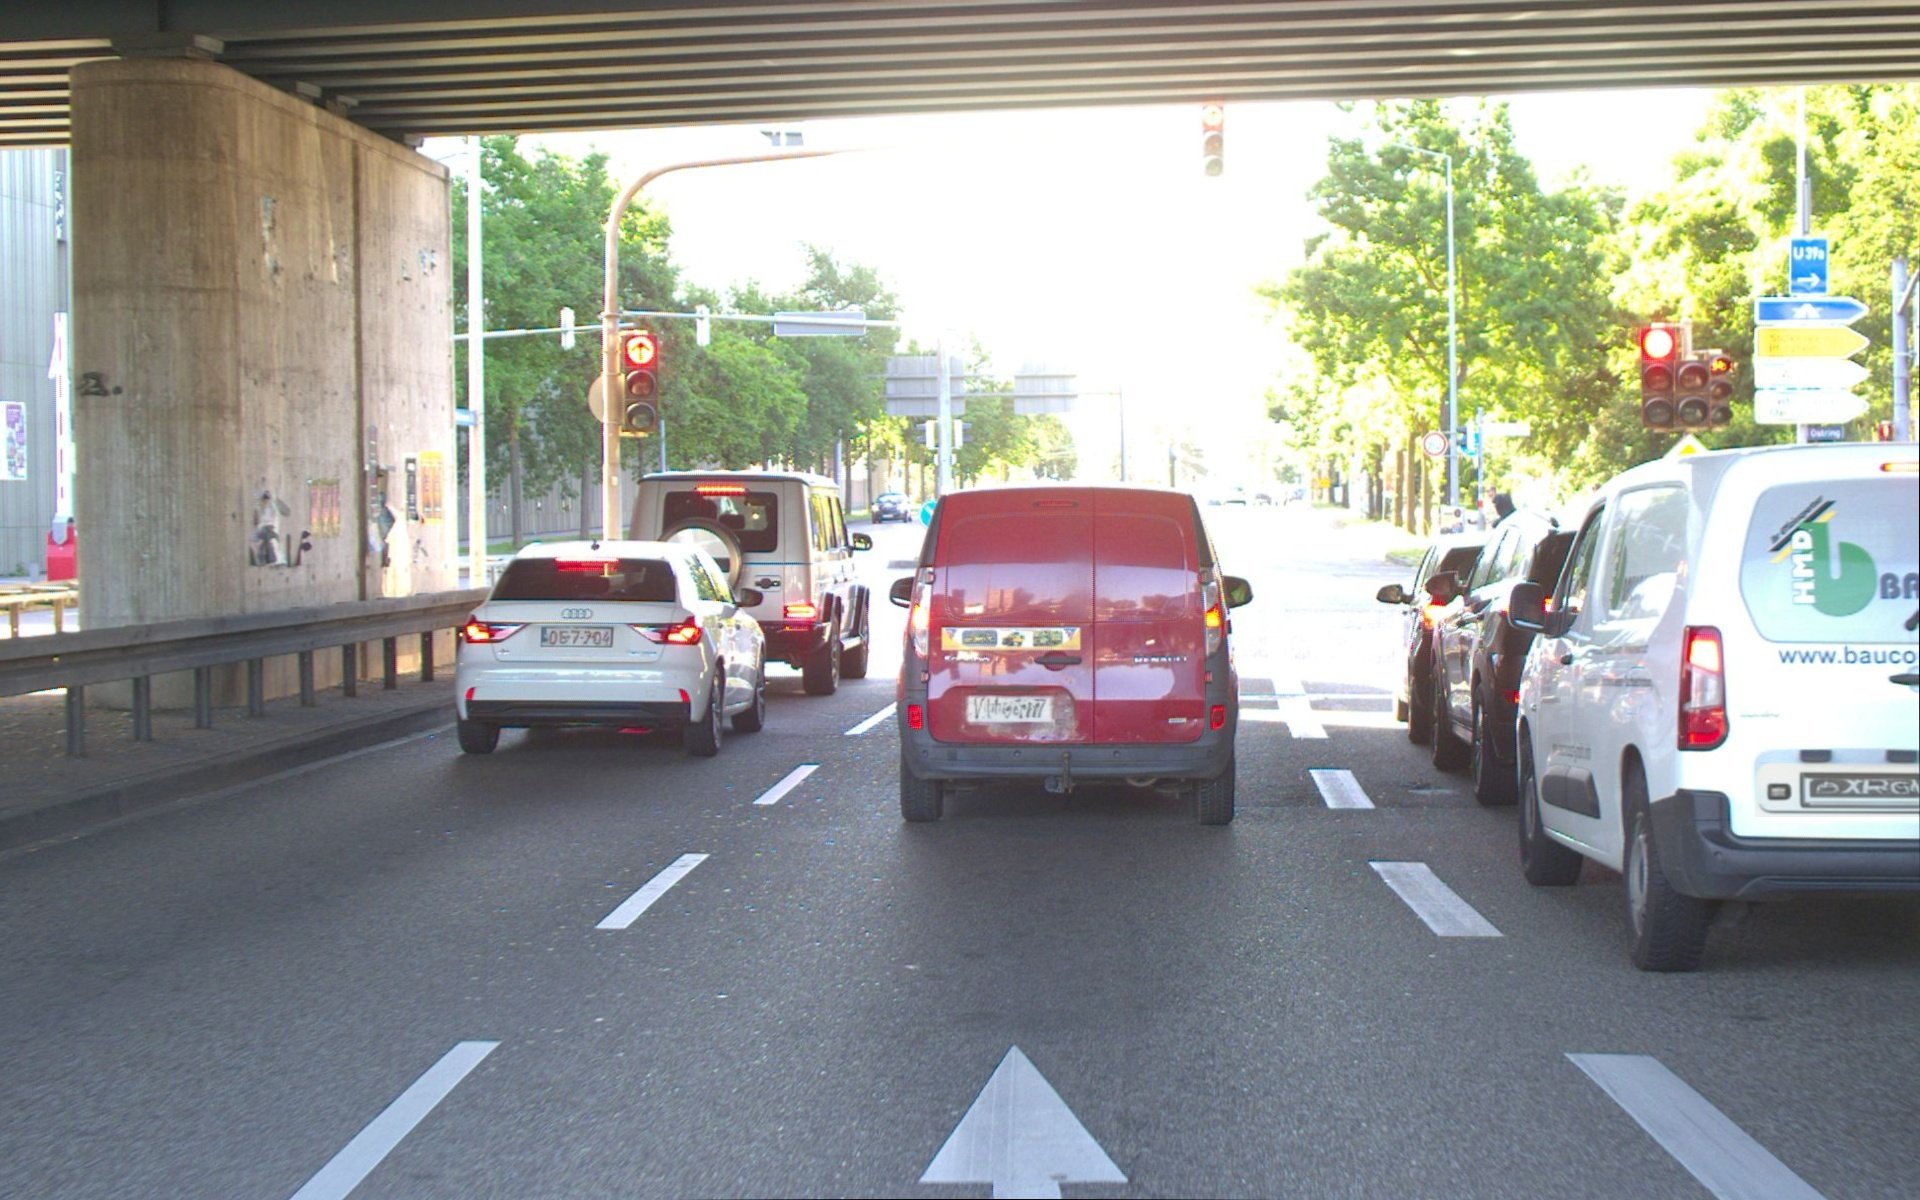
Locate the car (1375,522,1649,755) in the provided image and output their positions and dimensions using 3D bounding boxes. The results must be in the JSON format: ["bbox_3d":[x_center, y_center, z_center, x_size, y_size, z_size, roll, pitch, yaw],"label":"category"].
[{"bbox_3d":[4.035,0.219,25.620,1.652,1.546,3.863,1,2,4],"label":"car"}]

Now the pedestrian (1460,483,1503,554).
[{"bbox_3d":[11.425,-1.780,75.345,0.836,1.549,0.557,0,1,-3],"label":"pedestrian"}]

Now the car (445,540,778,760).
[{"bbox_3d":[-2.352,0.287,24.075,1.693,1.405,3.813,0,1,4],"label":"car"}]

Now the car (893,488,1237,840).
[{"bbox_3d":[0.650,0.285,19.305,1.719,1.758,4.000,0,1,4],"label":"car"}]

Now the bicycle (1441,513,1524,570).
[{"bbox_3d":[11.454,-1.279,75.361,1.729,1.229,0.557,0,0,-2],"label":"bicycle"}]

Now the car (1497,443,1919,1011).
[{"bbox_3d":[3.278,0.377,13.243,1.813,1.827,4.300,0,1,1],"label":"car"}]

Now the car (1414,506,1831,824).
[{"bbox_3d":[3.750,0.296,20.101,1.778,1.650,3.990,1,1,2],"label":"car"}]

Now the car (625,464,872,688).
[{"bbox_3d":[-1.857,-0.237,31.256,1.813,1.897,3.813,0,1,3],"label":"car"}]

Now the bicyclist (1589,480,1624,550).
[{"bbox_3d":[14.296,-1.885,75.998,0.755,1.537,0.696,0,1,10],"label":"bicyclist"}]

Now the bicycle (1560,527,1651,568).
[{"bbox_3d":[14.270,-1.160,76.010,1.953,0.871,0.699,0,1,10],"label":"bicycle"}]
